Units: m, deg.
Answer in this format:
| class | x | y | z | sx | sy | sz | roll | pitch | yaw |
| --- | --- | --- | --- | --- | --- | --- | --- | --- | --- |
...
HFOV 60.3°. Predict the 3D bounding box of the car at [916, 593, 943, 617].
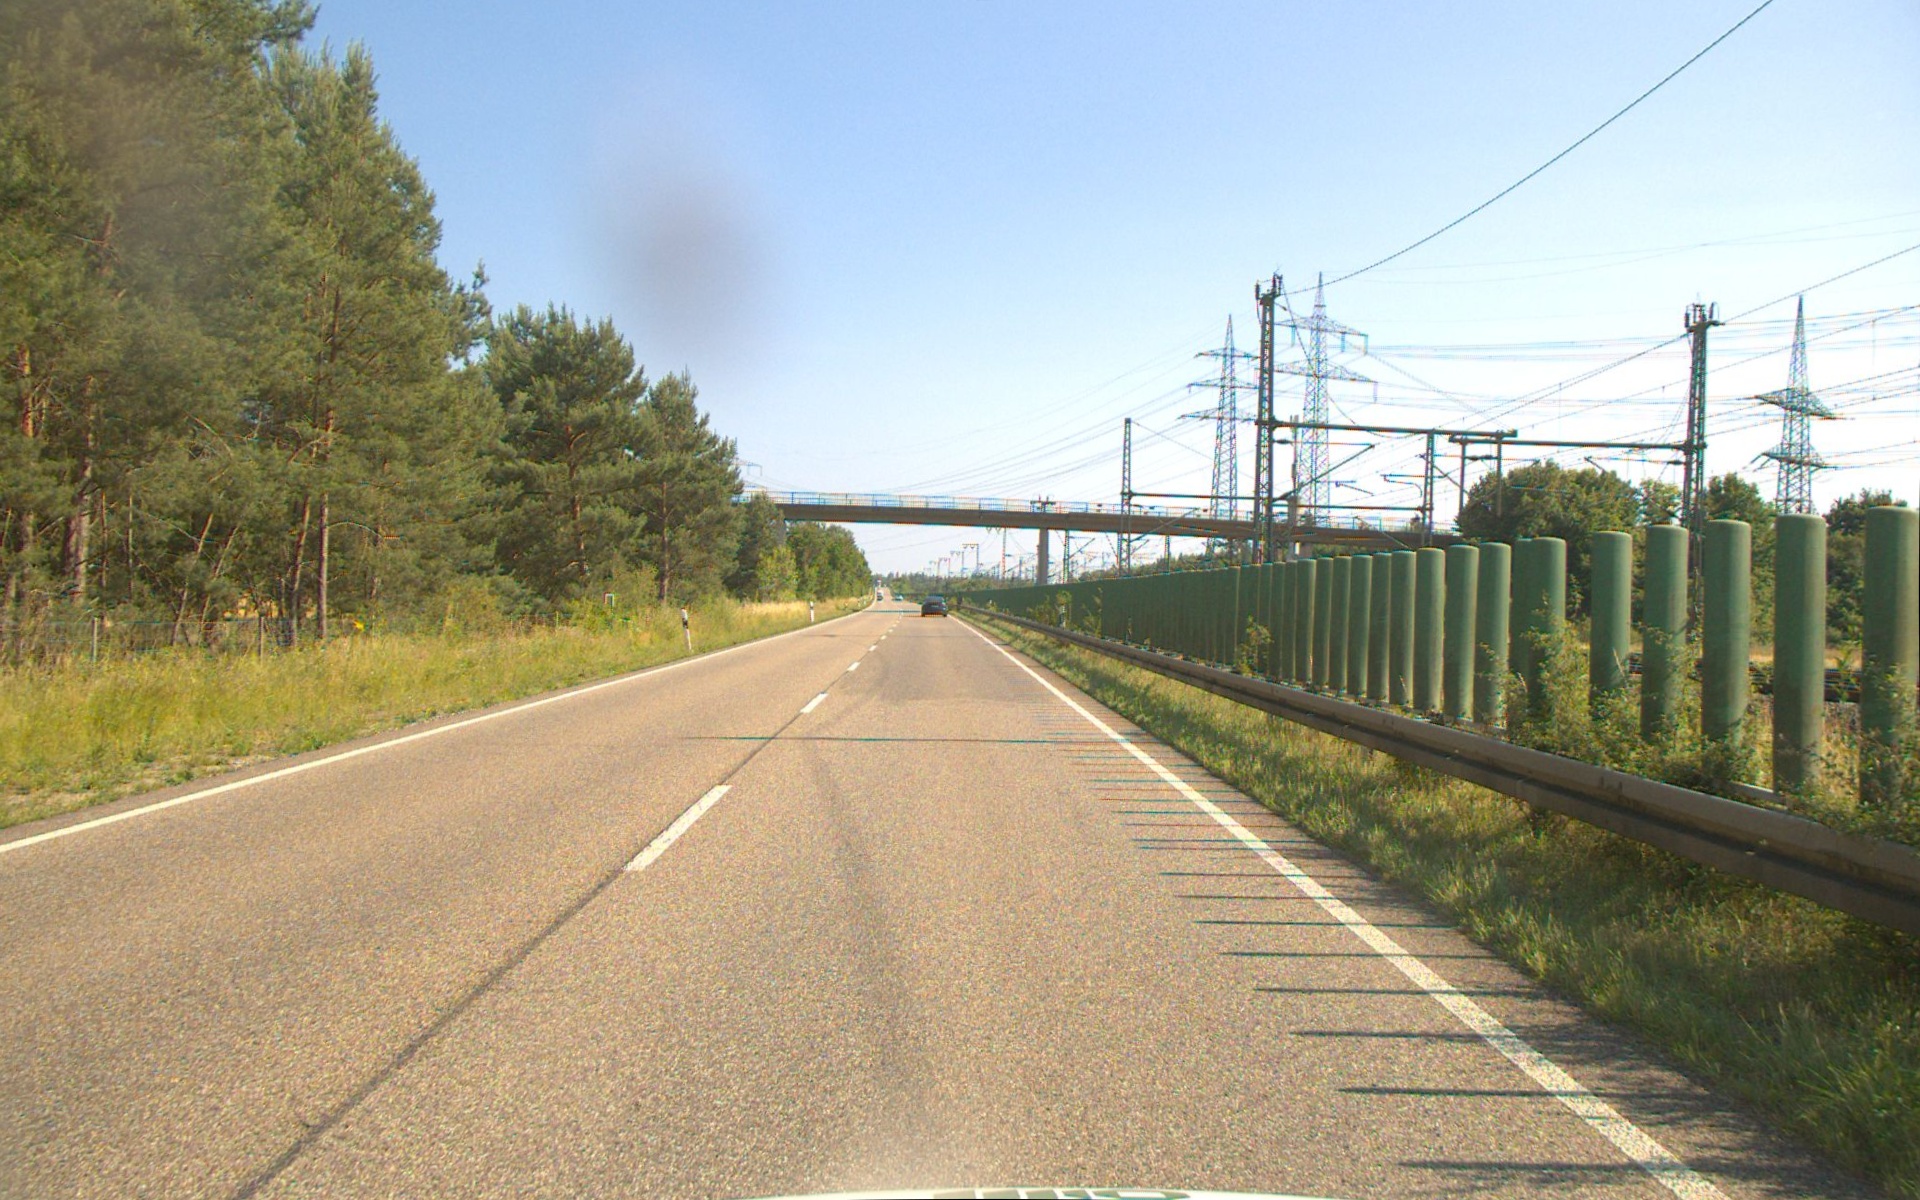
| class | x | y | z | sx | sy | sz | roll | pitch | yaw |
| --- | --- | --- | --- | --- | --- | --- | --- | --- | --- |
| car | -2.220 | 0.317 | 119.166 | 1.821 | 1.670 | 3.998 | 0 | 0 | -3 |
